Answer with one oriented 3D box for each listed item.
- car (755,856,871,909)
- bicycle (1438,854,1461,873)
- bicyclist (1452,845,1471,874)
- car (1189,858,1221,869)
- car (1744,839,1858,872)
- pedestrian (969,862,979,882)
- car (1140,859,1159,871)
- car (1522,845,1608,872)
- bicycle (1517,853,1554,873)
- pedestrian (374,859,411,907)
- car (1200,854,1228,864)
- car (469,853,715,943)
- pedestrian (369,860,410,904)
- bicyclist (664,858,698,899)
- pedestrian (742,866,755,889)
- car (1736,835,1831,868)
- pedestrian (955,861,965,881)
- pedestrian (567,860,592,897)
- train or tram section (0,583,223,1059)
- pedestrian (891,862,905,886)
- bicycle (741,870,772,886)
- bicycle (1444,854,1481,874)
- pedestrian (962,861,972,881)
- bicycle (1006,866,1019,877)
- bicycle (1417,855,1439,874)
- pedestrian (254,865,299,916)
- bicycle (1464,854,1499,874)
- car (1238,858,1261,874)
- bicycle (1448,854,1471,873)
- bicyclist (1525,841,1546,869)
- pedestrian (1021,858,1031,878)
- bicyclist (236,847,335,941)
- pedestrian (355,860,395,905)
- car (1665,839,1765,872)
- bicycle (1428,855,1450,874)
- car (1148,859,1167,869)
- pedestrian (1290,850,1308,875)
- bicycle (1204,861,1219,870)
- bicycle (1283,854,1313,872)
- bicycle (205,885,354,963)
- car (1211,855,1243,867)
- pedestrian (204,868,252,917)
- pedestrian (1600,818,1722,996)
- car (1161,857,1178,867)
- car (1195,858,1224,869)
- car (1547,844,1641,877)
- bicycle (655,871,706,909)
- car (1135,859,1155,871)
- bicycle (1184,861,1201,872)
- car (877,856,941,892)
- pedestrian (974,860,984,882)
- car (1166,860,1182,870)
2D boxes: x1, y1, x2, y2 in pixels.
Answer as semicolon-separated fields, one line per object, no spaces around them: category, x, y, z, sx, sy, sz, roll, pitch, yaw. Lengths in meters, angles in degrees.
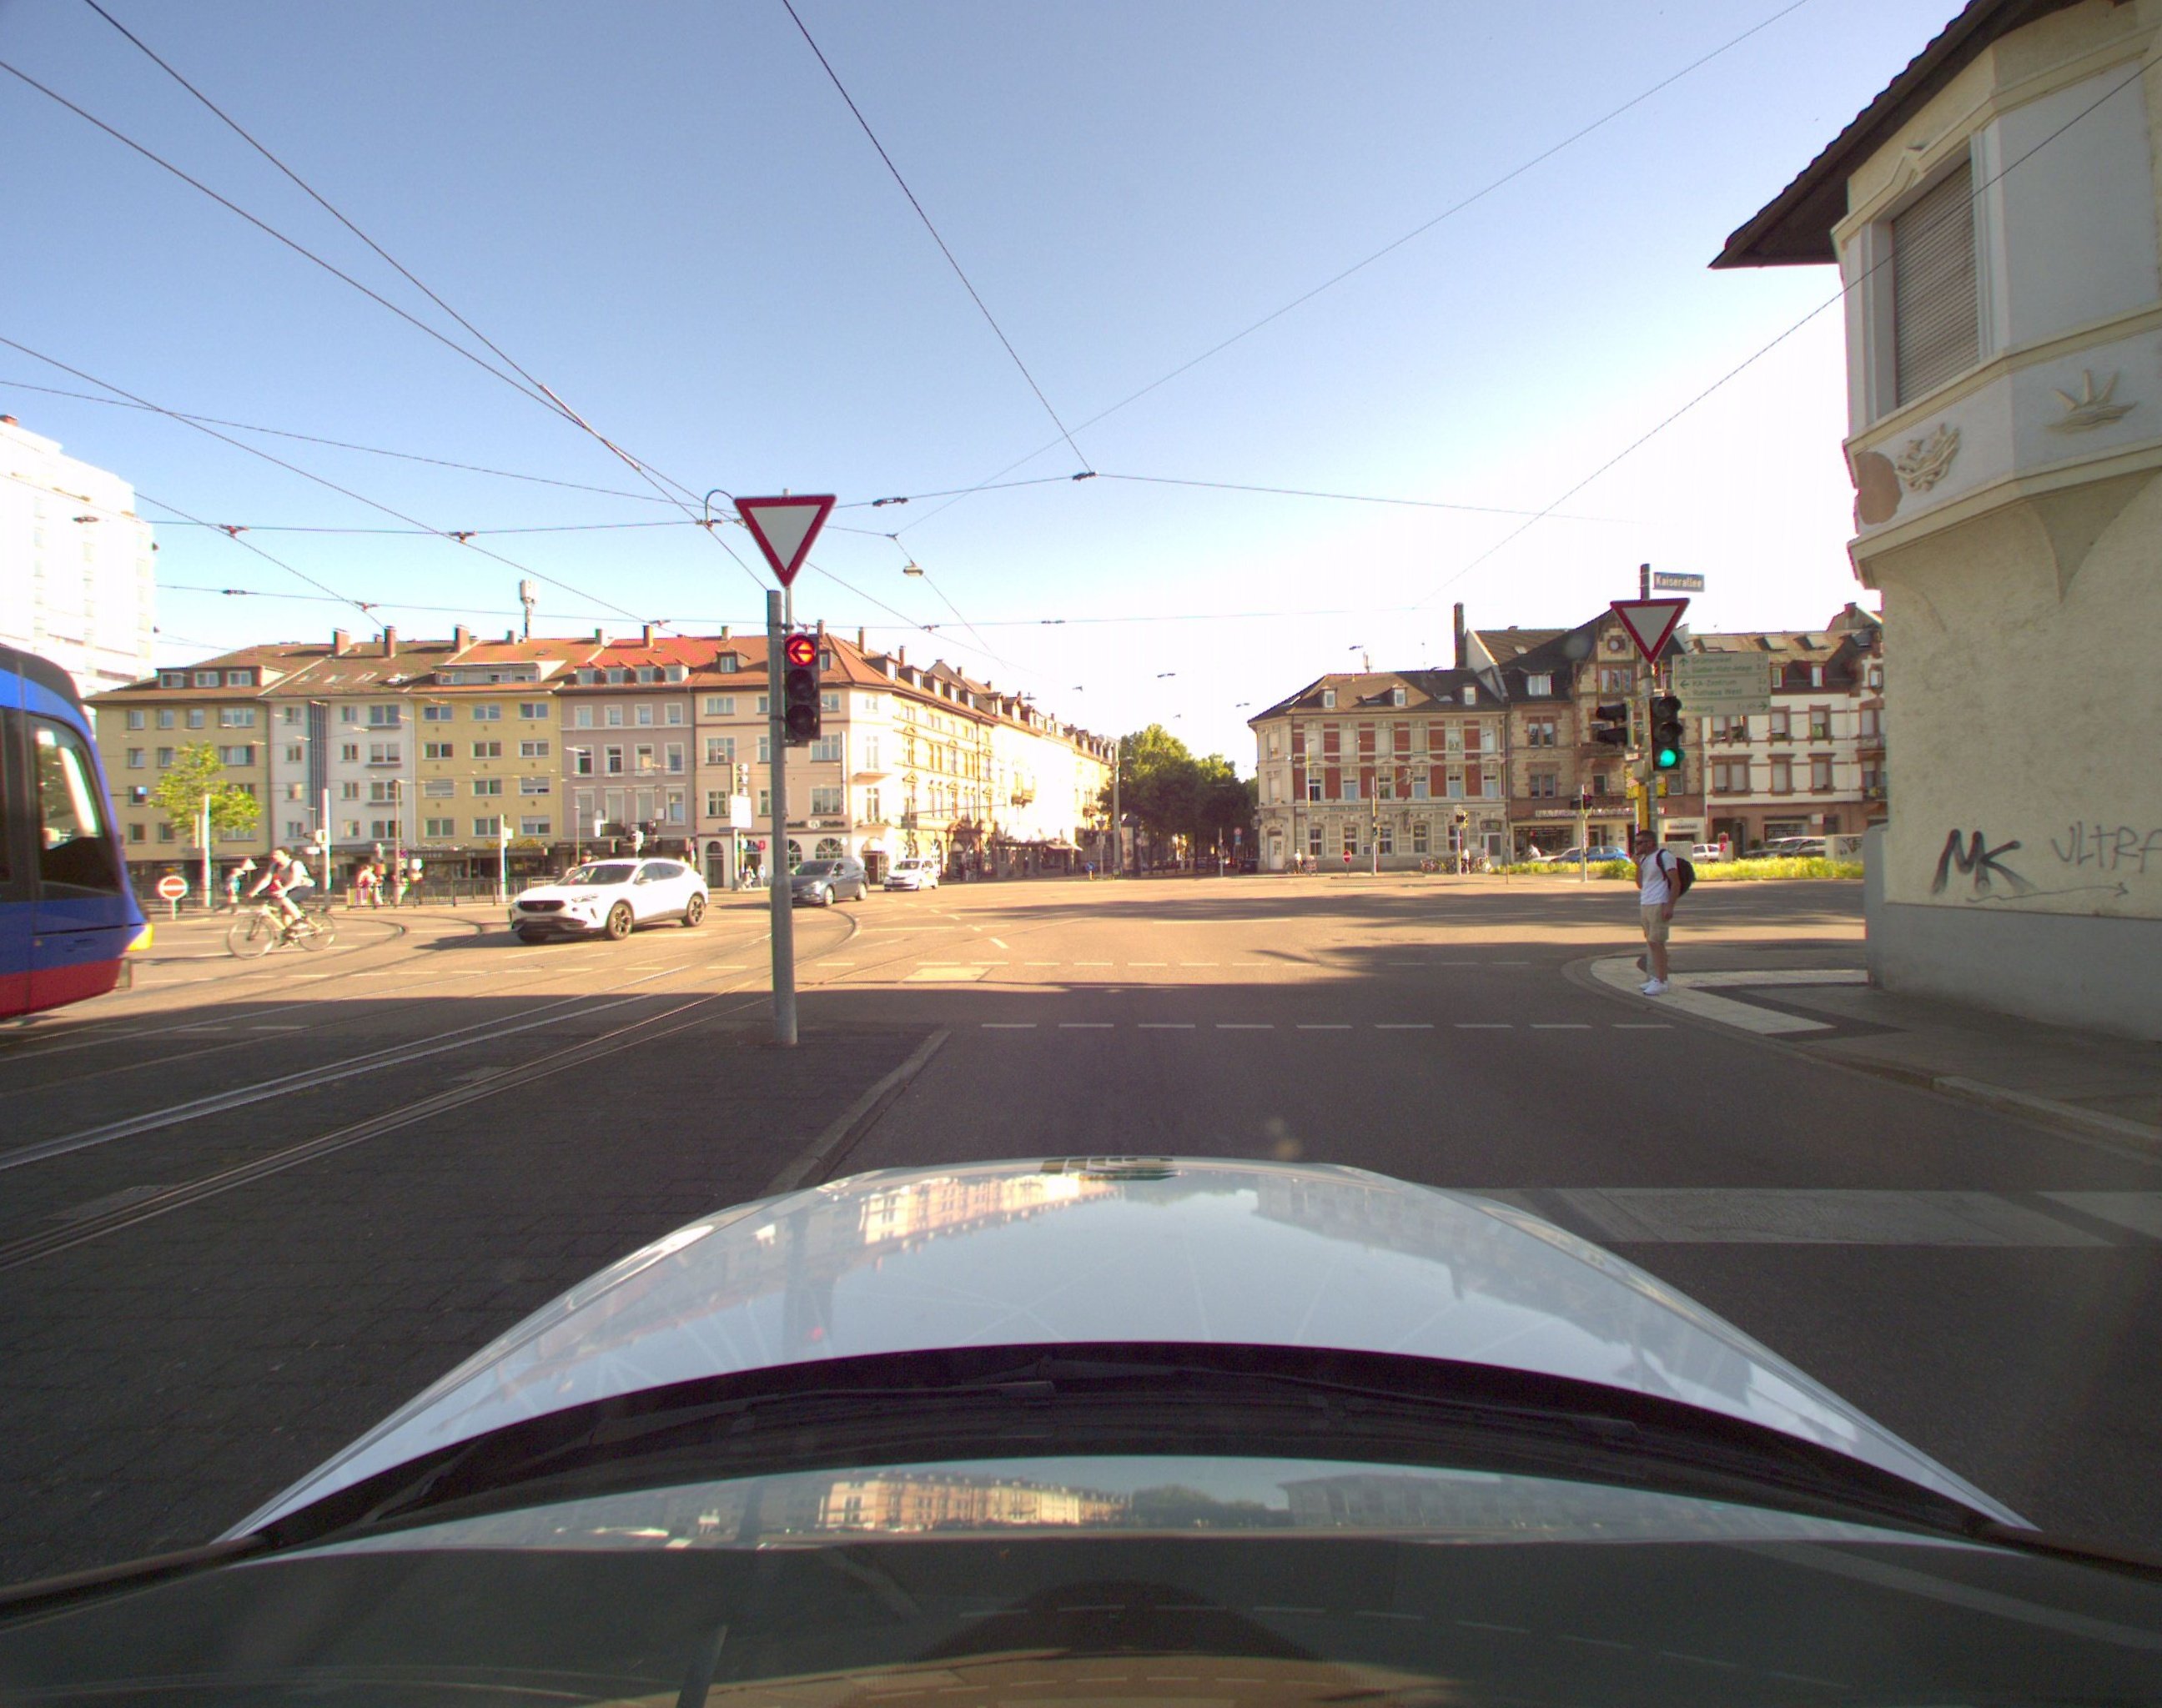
car;-8.444;0.841;26.159;1.765;1.497;4.581;-1;0;6
bicycle;23.844;0.628;52.770;0.674;1.191;1.969;-1;0;3
bicyclist;23.573;0.350;50.518;0.869;1.764;0.602;-1;0;4
car;17.529;1.344;115.436;3.949;1.545;2.012;-2;0;30
car;39.457;0.079;44.712;4.456;1.668;1.955;-1;0;1
pedestrian;-8.885;1.470;67.828;0.546;1.642;0.636;-2;0;17
car;9.903;1.586;117.314;1.978;1.497;4.051;-2;0;16
car;28.506;0.266;48.032;3.973;1.412;1.846;-1;0;1
bicycle;28.367;0.541;50.830;1.956;1.191;0.601;-1;0;-4
pedestrian;-25.558;1.066;30.247;0.797;1.733;0.653;-1;0;-2
car;21.895;0.860;134.123;3.949;1.545;2.012;-2;0;30
car;-9.377;0.765;16.151;1.984;1.497;4.352;-1;0;4
pedestrian;-27.870;1.126;32.813;0.899;1.733;0.841;-1;0;1
bicyclist;-13.446;0.822;27.388;0.600;1.340;0.900;-1;0;8
pedestrian;-22.509;1.619;55.164;0.658;1.524;0.692;-1;0;-14
car;45.232;-0.180;52.506;4.388;1.965;1.955;-1;0;1
pedestrian;-10.056;1.420;67.919;0.622;1.642;0.540;-2;0;15
pedestrian;-22.962;1.110;37.283;0.663;1.627;0.732;-2;0;36
train or tram section;-9.101;-0.247;1.797;3.054;3.613;12.078;-1;0;-9
pedestrian;-12.665;1.381;56.395;0.670;1.642;0.581;-2;0;15
bicycle;-22.819;1.684;57.303;1.940;1.067;0.582;-1;0;-6
bicycle;23.638;0.628;50.516;1.952;1.191;0.602;-1;0;4
pedestrian;-9.497;1.444;67.849;0.546;1.642;0.540;-2;0;16
bicycle;-6.711;1.698;79.880;0.491;1.067;1.778;-2;0;18
bicycle;22.493;0.651;52.776;0.674;1.191;1.969;-1;0;3
pedestrian;-27.882;1.271;28.224;0.815;1.724;0.853;-2;-1;24
bicycle;25.741;0.645;52.318;1.961;1.191;0.677;-1;0;-10
car;17.013;1.152;82.176;1.978;1.497;4.051;-2;0;16
bicycle;24.517;0.620;52.746;0.674;1.191;1.969;-1;0;3
bicyclist;28.360;0.058;50.833;0.901;1.764;0.601;-1;0;-3
pedestrian;-5.426;1.358;80.528;0.676;1.908;0.636;-2;0;18
bicyclist;-13.824;0.678;14.185;0.712;1.559;0.987;-1;0;2
pedestrian;-27.513;1.099;31.750;0.818;1.733;0.789;-1;0;2
car;34.801;0.099;44.773;3.973;1.668;1.955;-1;0;1
bicycle;23.195;0.661;52.785;0.674;1.191;1.969;-1;0;3
car;11.516;1.479;122.515;1.978;1.497;4.051;-2;0;16
pedestrian;14.791;0.563;55.325;0.722;1.669;0.928;-1;-1;-43
bicycle;15.871;1.362;99.048;0.586;1.067;1.928;-1;0;-34
bicycle;15.183;0.644;56.970;1.950;1.191;0.547;-1;0;6
bicycle;-13.823;1.163;14.143;0.483;1.166;2.057;-1;0;2
car;20.830;1.014;116.223;3.948;1.545;2.013;-2;0;32
pedestrian;-29.081;1.300;27.770;0.855;1.631;0.812;-2;-1;19
pedestrian;6.087;0.536;8.567;0.691;1.740;0.668;-4;-1;-26
car;14.368;1.346;131.758;1.978;1.497;4.051;-2;0;16
car;20.200;1.450;128.019;3.949;1.545;2.012;-2;0;30
car;28.314;0.344;45.038;3.973;1.668;1.955;-1;0;1
bicycle;-13.444;1.189;27.400;0.482;1.166;1.962;-1;0;8
car;8.931;1.557;112.848;1.978;1.497;4.051;-2;0;16
bicycle;11.330;1.287;82.655;0.586;1.067;1.928;-1;0;-34
car;-7.849;0.888;37.476;1.708;1.497;3.591;-2;0;8
pedestrian;-8.616;1.462;68.993;0.575;1.836;0.636;-2;0;18
car;15.559;1.884;136.358;1.978;1.497;4.051;-2;0;16
